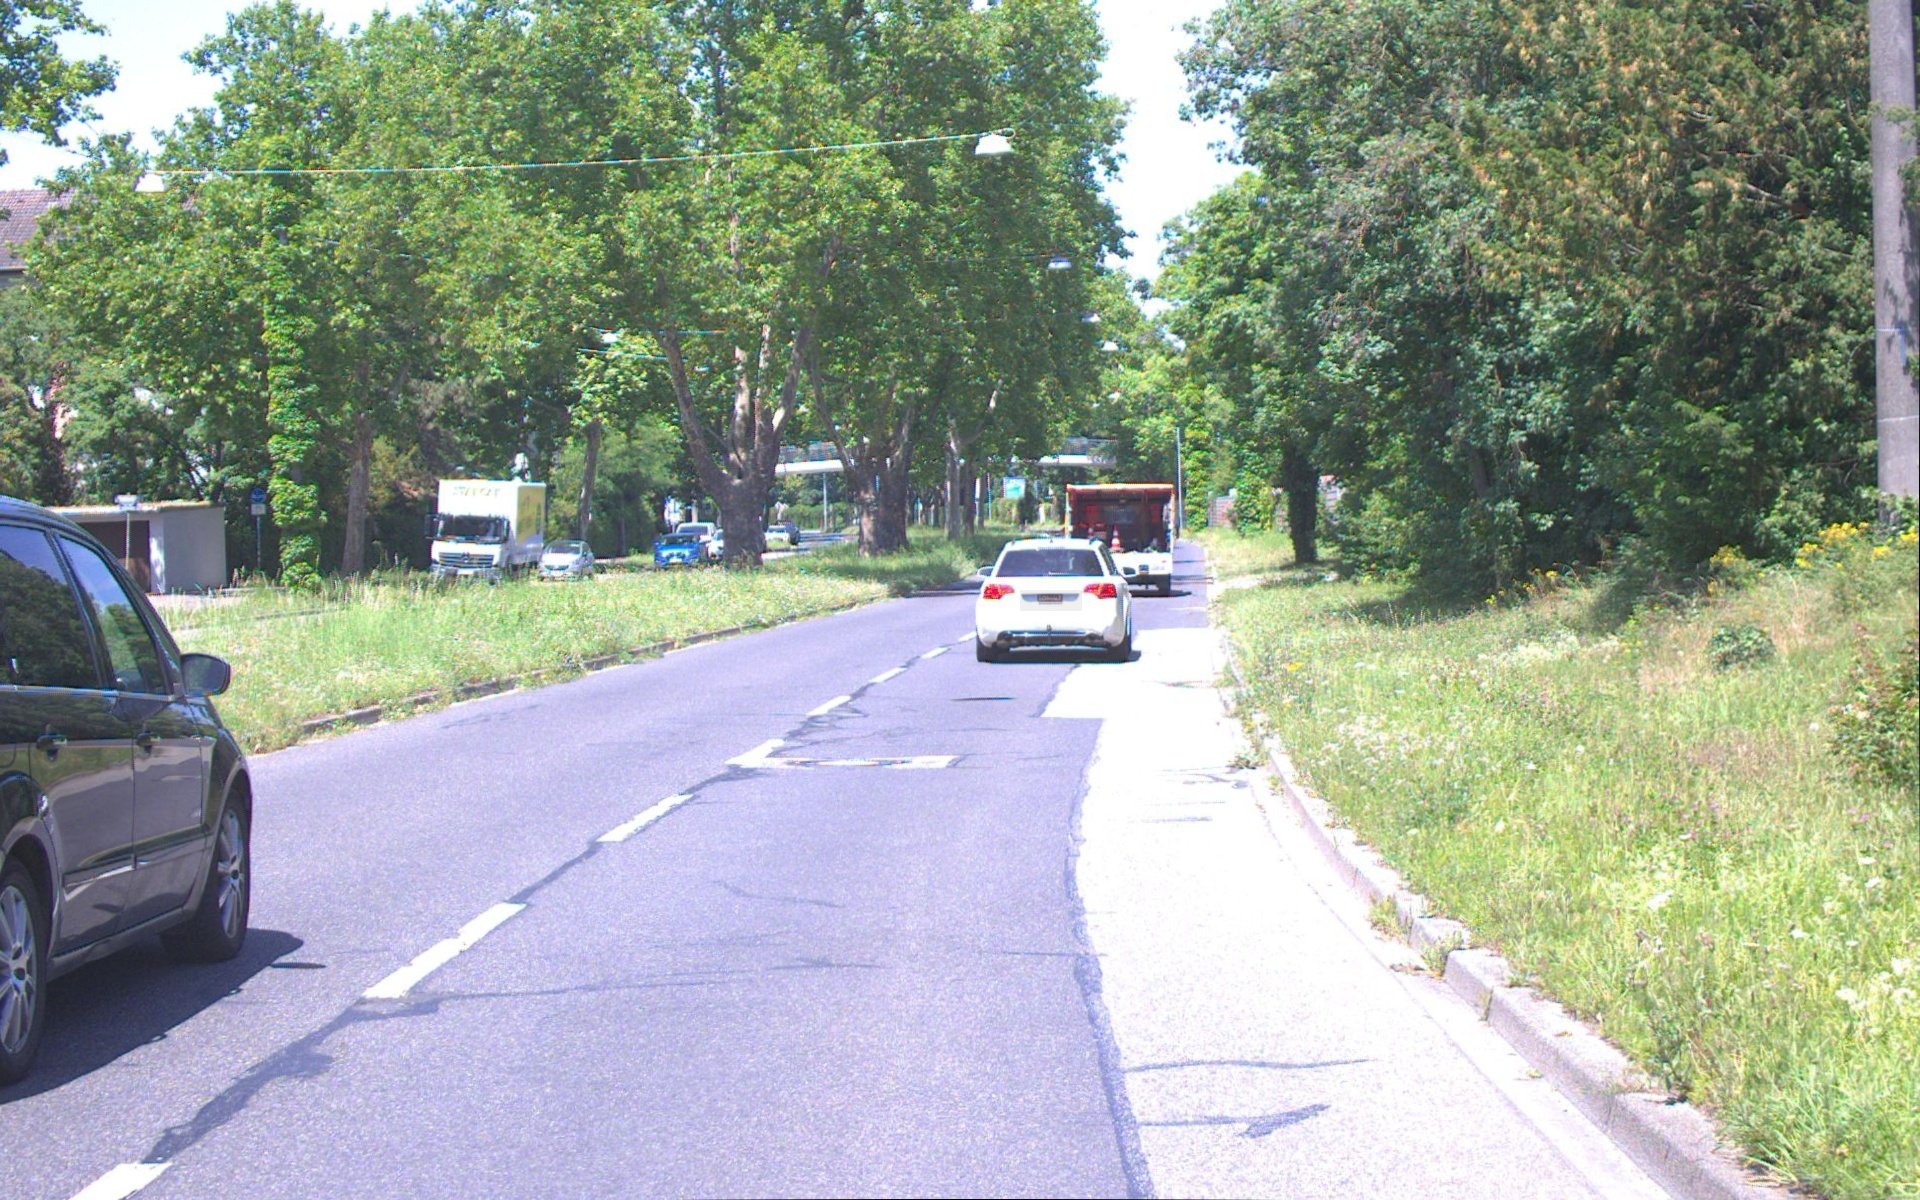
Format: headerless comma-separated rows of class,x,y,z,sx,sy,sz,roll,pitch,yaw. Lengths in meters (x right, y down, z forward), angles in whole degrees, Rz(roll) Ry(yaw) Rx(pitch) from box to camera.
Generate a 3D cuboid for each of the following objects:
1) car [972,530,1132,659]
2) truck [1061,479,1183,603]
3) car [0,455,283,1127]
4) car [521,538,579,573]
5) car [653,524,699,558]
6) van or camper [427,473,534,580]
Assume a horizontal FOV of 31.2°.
car,1.126,-0.101,40.608,1.763,1.440,3.616,0,1,3
truck,3.475,-1.357,74.993,2.511,2.550,7.603,0,2,2
car,-3.472,0.470,10.750,1.854,1.749,4.649,-1,1,-1
car,-15.014,-1.628,126.150,1.914,1.206,4.336,-2,1,-5
car,-11.238,-2.336,135.989,1.771,1.327,3.661,0,1,-5
van or camper,-15.457,-2.393,111.120,2.660,3.320,5.501,-1,1,0
